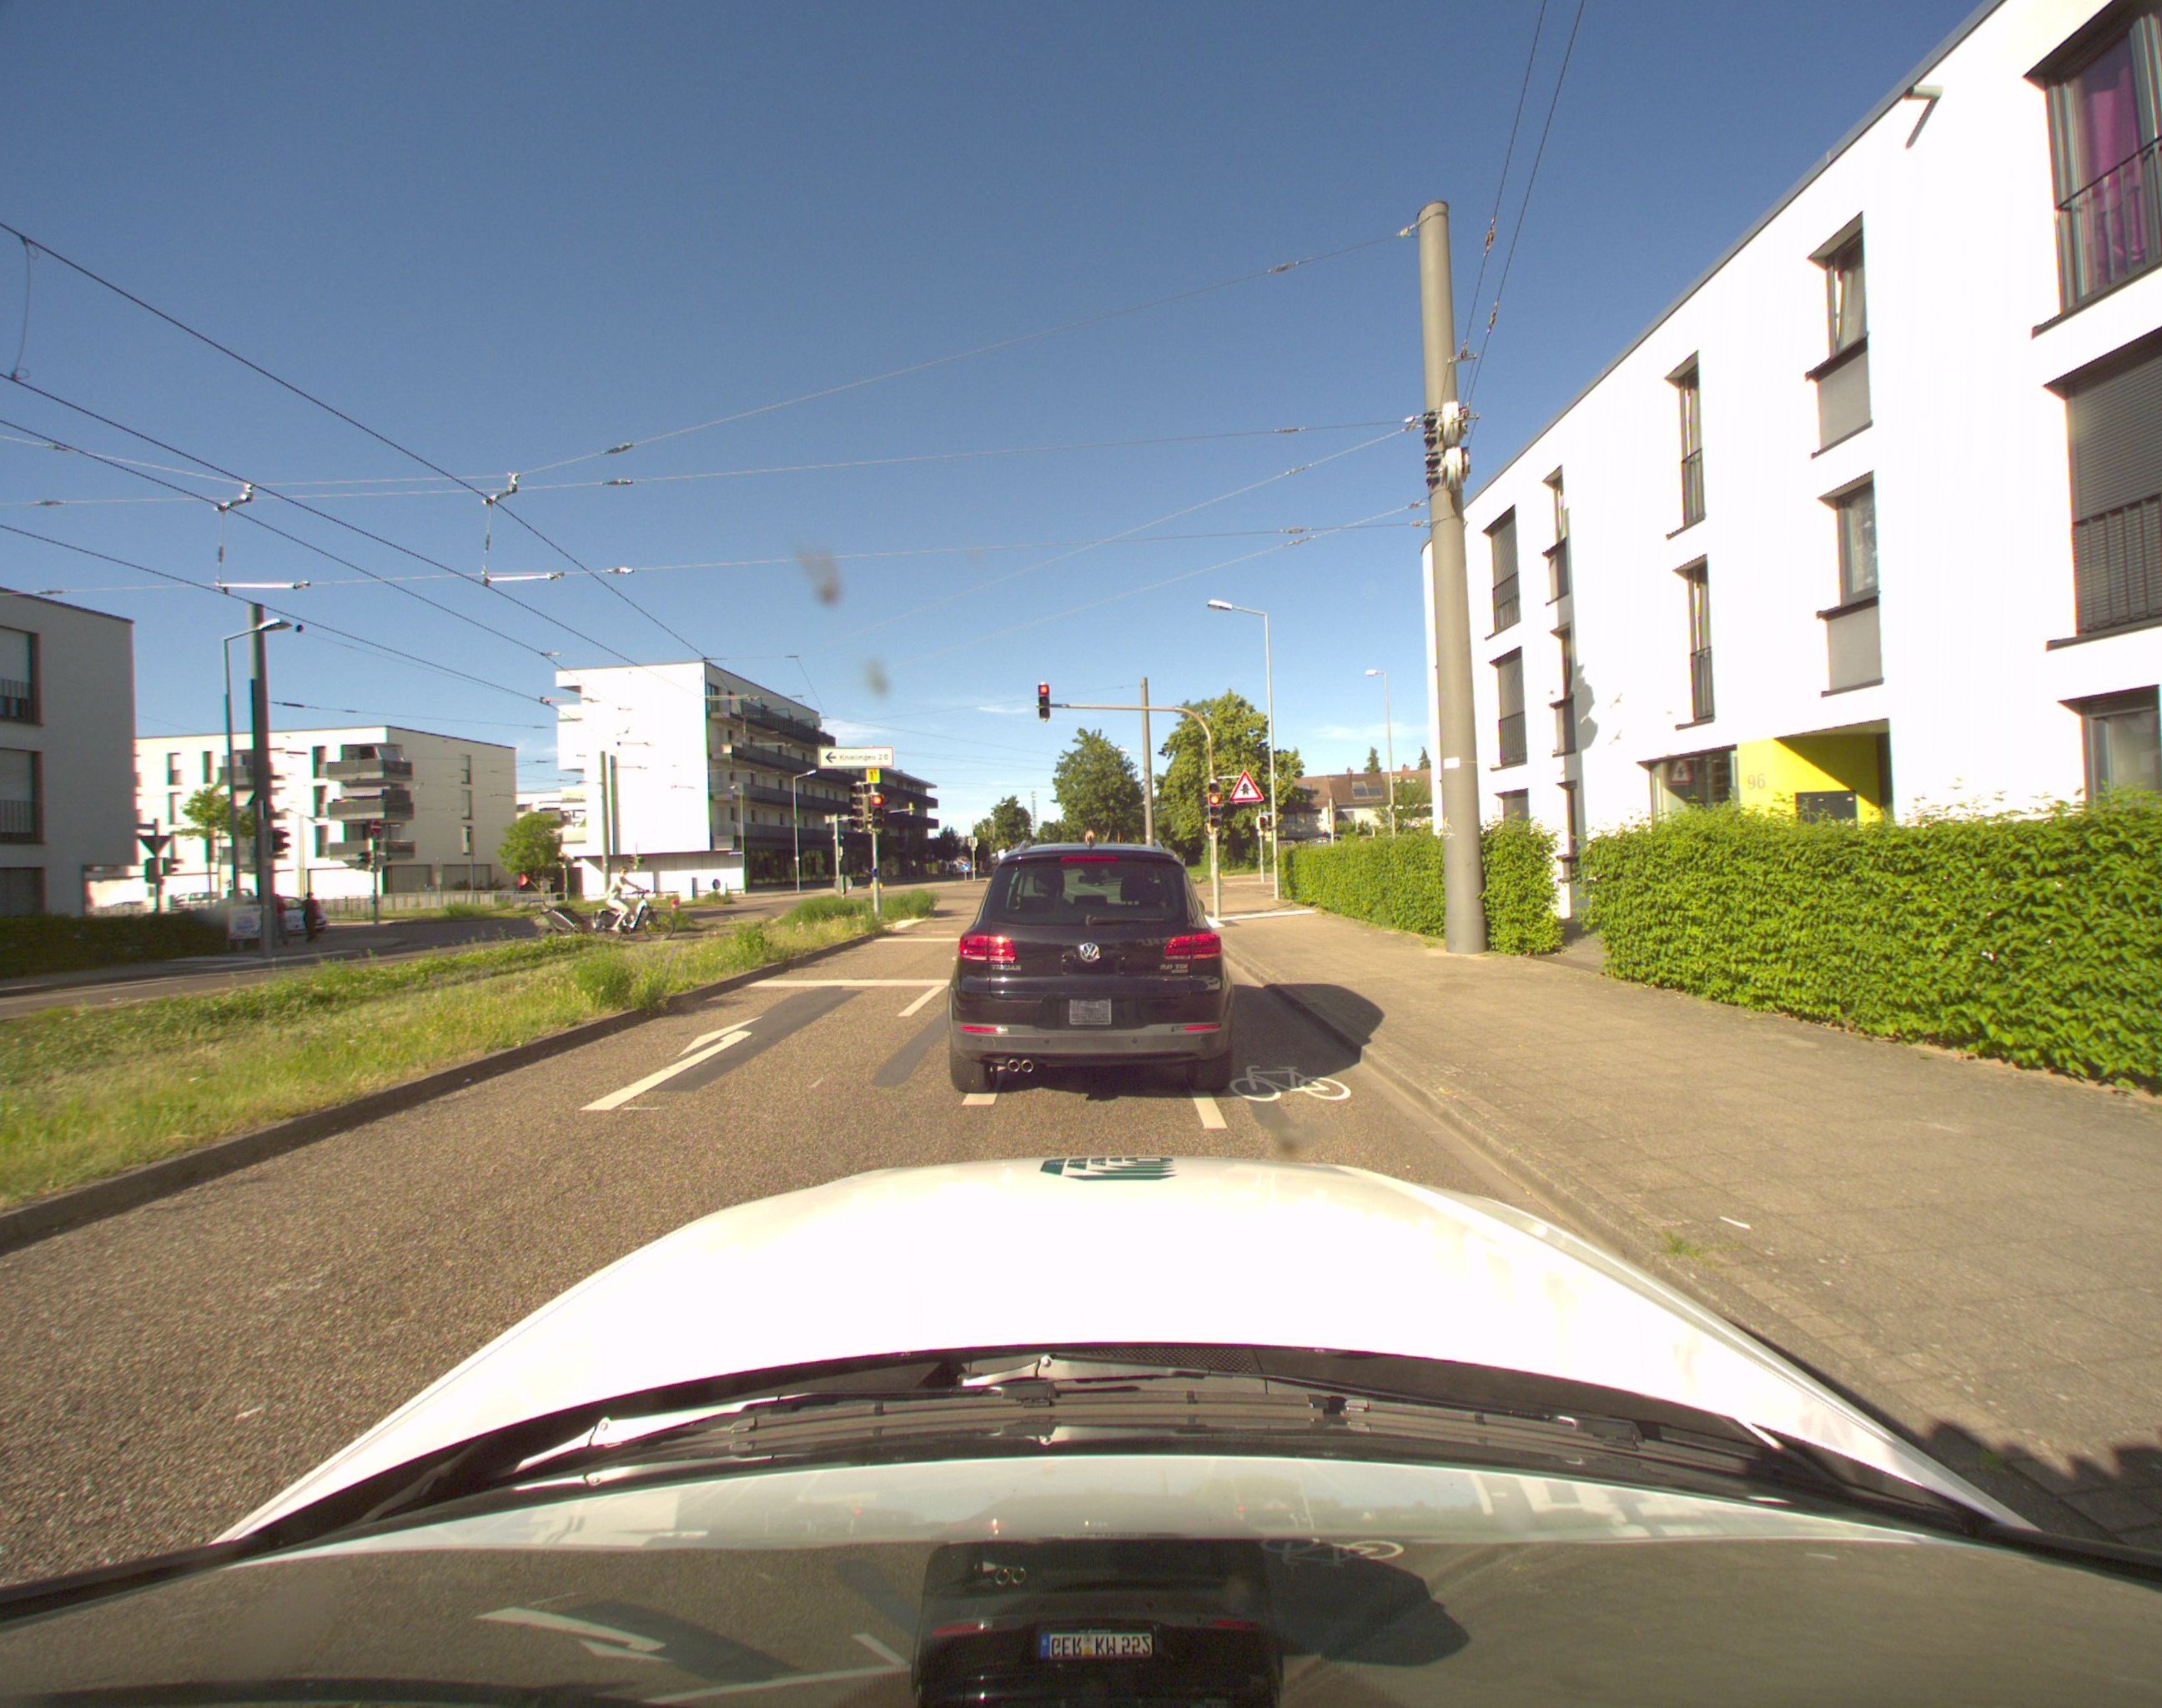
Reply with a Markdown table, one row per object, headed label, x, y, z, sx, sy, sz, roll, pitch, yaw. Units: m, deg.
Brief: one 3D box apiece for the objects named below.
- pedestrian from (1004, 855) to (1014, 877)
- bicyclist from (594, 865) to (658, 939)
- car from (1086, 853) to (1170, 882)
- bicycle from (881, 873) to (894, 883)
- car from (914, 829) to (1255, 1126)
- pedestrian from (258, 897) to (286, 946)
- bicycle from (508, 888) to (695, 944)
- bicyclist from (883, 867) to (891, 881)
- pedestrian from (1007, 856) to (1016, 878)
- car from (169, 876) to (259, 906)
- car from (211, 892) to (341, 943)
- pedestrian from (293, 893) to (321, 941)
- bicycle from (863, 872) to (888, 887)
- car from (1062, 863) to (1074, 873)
| label | x | y | z | sx | sy | sz | roll | pitch | yaw |
| --- | --- | --- | --- | --- | --- | --- | --- | --- | --- |
| pedestrian | -5.281 | 0.895 | 59.417 | 0.600 | 1.565 | 0.530 | -1 | 0 | 6 |
| bicyclist | -10.464 | 1.090 | 18.752 | 0.907 | 1.630 | 0.976 | -1 | 0 | 0 |
| car | 2.603 | 0.718 | 44.649 | 4.474 | 1.504 | 2.003 | -1 | 0 | 6 |
| bicycle | -17.025 | 2.108 | 71.722 | 0.493 | 0.848 | 2.082 | -1 | 0 | 6 |
| car | 0.044 | 0.697 | 6.599 | 1.899 | 1.643 | 4.000 | -1 | 0 | 0 |
| pedestrian | -25.599 | 2.116 | 25.783 | 0.562 | 1.464 | 0.734 | -1 | 0 | -40 |
| bicycle | -10.978 | 1.407 | 18.733 | 3.670 | 1.174 | 0.999 | 1 | 0 | 0 |
| bicyclist | -17.035 | 1.747 | 71.624 | 0.472 | 1.223 | 0.713 | -1 | 0 | 5 |
| pedestrian | -5.144 | 0.970 | 60.206 | 0.600 | 1.640 | 0.530 | -1 | 0 | 6 |
| car | -58.708 | 2.477 | 55.194 | 3.974 | 1.838 | 2.000 | -1 | 0 | 0 |
| car | -31.877 | 2.490 | 32.315 | 3.478 | 1.652 | 1.593 | -4 | 0 | 1 |
| pedestrian | -24.964 | 2.023 | 26.282 | 0.561 | 1.464 | 0.605 | -1 | 0 | -36 |
| bicycle | -16.348 | 2.012 | 64.953 | 0.958 | 1.085 | 1.845 | -1 | 0 | 25 |
| car | -2.132 | 2.381 | 136.767 | 1.648 | 1.640 | 4.004 | -1 | 0 | 4 |
